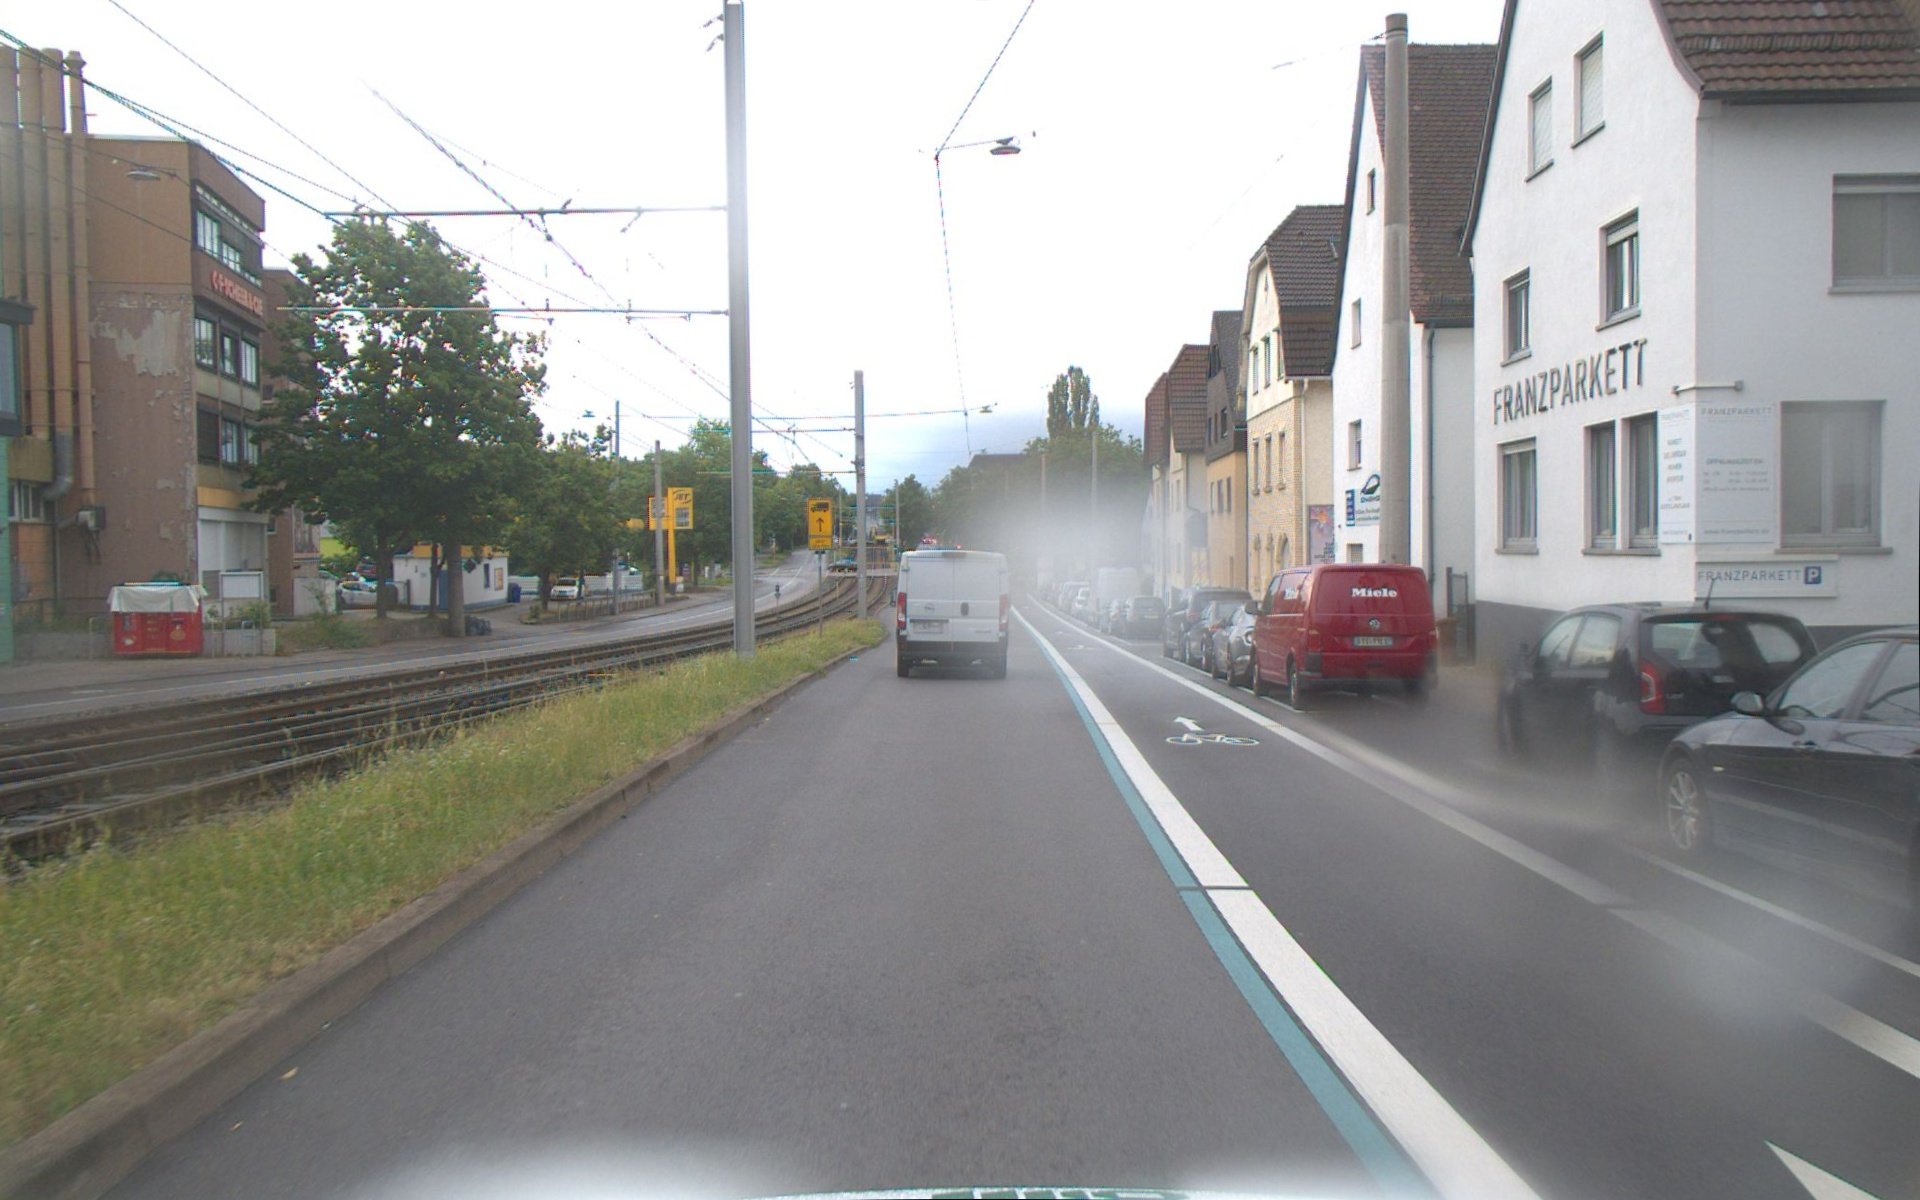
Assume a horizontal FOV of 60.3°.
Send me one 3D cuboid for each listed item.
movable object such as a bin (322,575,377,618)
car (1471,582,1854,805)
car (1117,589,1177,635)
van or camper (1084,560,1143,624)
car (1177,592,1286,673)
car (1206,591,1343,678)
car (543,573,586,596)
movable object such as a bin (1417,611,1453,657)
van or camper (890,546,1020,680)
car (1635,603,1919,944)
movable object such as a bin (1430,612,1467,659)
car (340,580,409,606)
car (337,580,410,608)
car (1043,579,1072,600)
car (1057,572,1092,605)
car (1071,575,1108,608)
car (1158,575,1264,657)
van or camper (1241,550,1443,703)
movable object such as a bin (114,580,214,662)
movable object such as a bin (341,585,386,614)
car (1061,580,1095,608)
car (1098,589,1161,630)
[{"bbox_3d":[-30.165,-0.198,81.840,1.958,1.952,3.563,1,2,-11],"label":"movable object such as a bin"},{"bbox_3d":[5.324,0.648,13.051,1.545,1.477,3.721,-1,-1,2],"label":"car"},{"bbox_3d":[6.634,0.413,58.896,1.534,1.524,3.511,1,1,-3],"label":"car"},{"bbox_3d":[6.625,-0.407,72.078,1.953,2.608,6.043,1,2,0],"label":"van or camper"},{"bbox_3d":[5.722,0.642,35.249,1.600,1.565,4.135,1,1,0],"label":"car"},{"bbox_3d":[5.515,0.559,29.515,1.759,1.400,4.672,0,0,3],"label":"car"},{"bbox_3d":[-25.878,-0.997,108.271,1.953,1.467,3.998,1,0,-2],"label":"car"},{"bbox_3d":[9.480,0.674,33.002,0.575,0.895,0.448,-1,0,-1],"label":"movable object such as a bin"},{"bbox_3d":[-0.182,0.205,31.170,2.155,2.292,4.681,1,0,-3],"label":"van or camper"},{"bbox_3d":[5.006,0.755,8.073,1.676,1.437,4.566,0,0,2],"label":"car"},{"bbox_3d":[9.612,0.687,32.533,0.575,0.895,0.448,-1,0,-1],"label":"movable object such as a bin"},{"bbox_3d":[-34.707,-0.406,98.006,3.717,1.505,1.563,1,0,-26],"label":"car"},{"bbox_3d":[-32.656,-0.313,92.089,3.717,1.479,1.539,1,0,-26],"label":"car"},{"bbox_3d":[7.203,-0.768,122.407,1.810,1.526,3.954,1,1,-1],"label":"car"},{"bbox_3d":[6.810,-0.692,98.902,1.711,1.838,3.954,1,2,-1],"label":"car"},{"bbox_3d":[6.853,-0.447,87.712,1.612,1.643,4.105,1,1,0],"label":"car"},{"bbox_3d":[5.996,0.341,40.004,1.802,1.831,4.686,1,1,0],"label":"car"},{"bbox_3d":[5.386,0.324,23.992,1.813,1.953,4.995,-1,0,1],"label":"van or camper"},{"bbox_3d":[-22.529,0.574,46.871,2.094,2.194,1.799,1,2,-9],"label":"movable object such as a bin"},{"bbox_3d":[-31.233,-0.041,86.675,1.958,1.399,1.566,1,2,-11],"label":"movable object such as a bin"},{"bbox_3d":[6.650,-0.344,93.337,1.612,1.471,3.954,1,1,0],"label":"car"},{"bbox_3d":[6.619,0.344,64.892,1.753,1.430,4.550,1,1,-3],"label":"car"}]
